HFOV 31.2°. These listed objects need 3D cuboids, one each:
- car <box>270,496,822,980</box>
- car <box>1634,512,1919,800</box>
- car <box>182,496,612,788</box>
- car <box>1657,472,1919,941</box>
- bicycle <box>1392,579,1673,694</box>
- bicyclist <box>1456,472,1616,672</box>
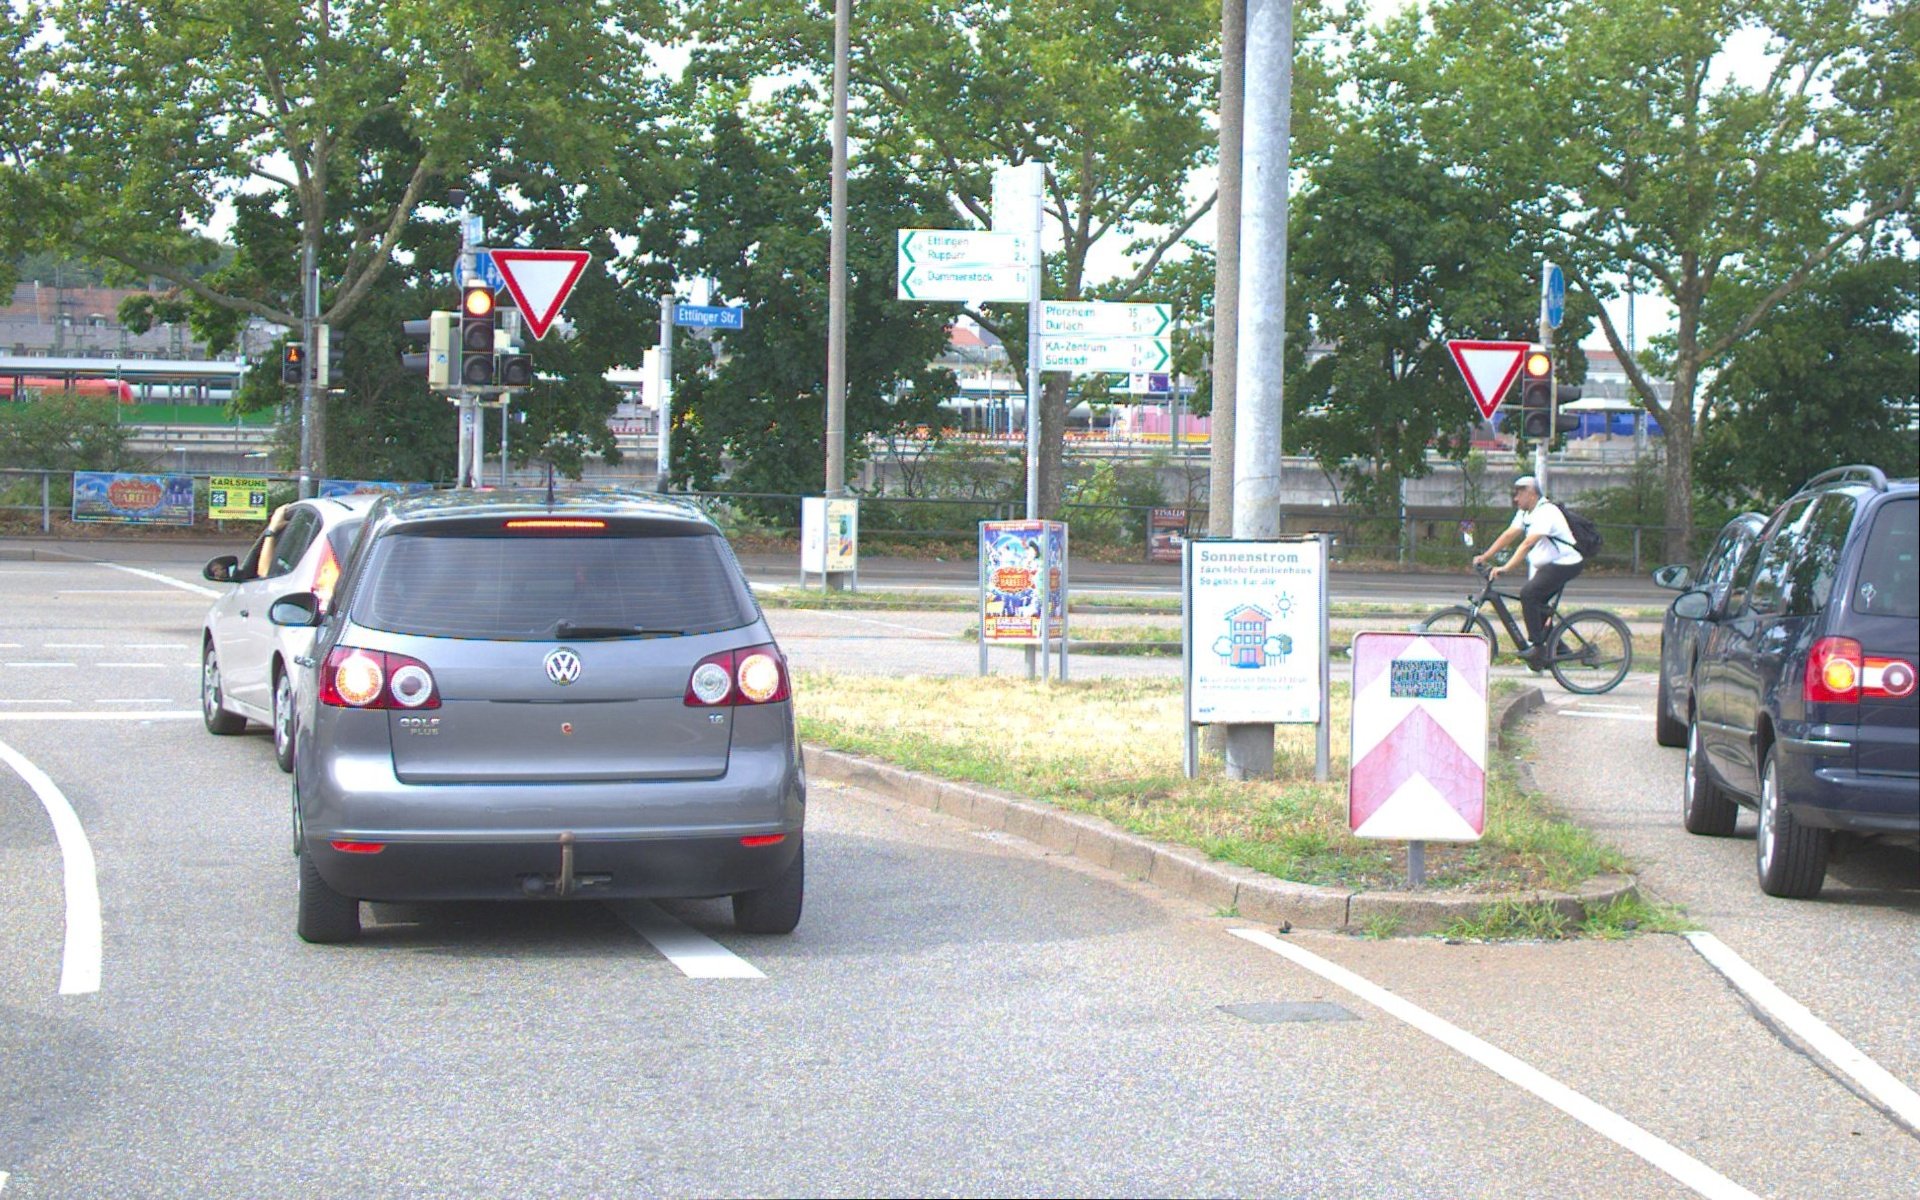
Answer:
[{"bbox_3d":[-1.726,0.385,13.110,1.740,1.541,4.083,0,2,-12],"label":"car"},{"bbox_3d":[5.291,0.293,21.736,1.691,1.580,4.155,3,1,8],"label":"car"},{"bbox_3d":[-3.335,0.157,19.723,1.740,1.477,4.083,0,2,-19],"label":"car"},{"bbox_3d":[4.153,0.389,14.804,1.751,1.719,4.137,3,1,6],"label":"car"},{"bbox_3d":[4.917,0.311,29.566,2.227,0.949,0.812,0,2,-10],"label":"bicycle"},{"bbox_3d":[4.945,-0.252,29.553,1.112,1.690,0.813,0,2,-11],"label":"bicyclist"}]
